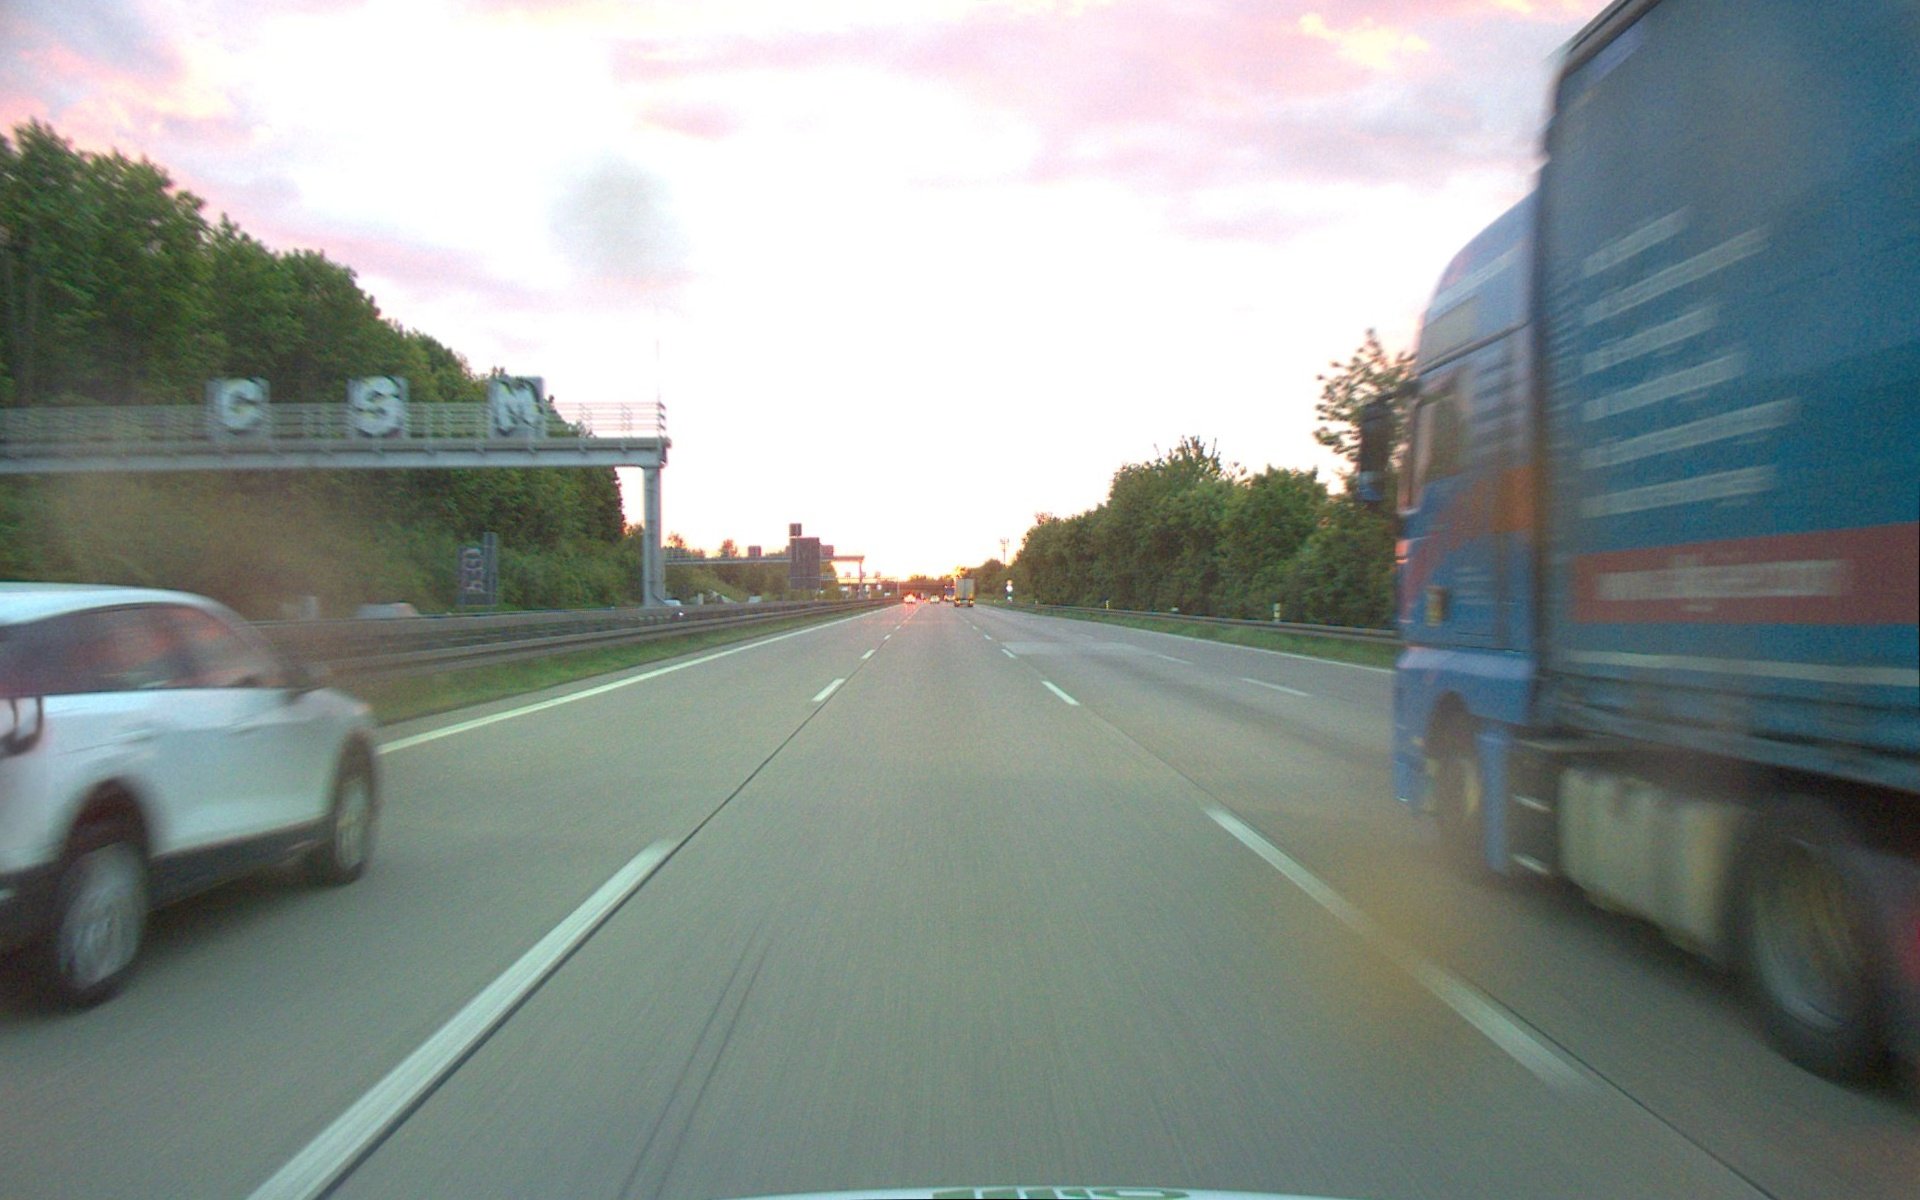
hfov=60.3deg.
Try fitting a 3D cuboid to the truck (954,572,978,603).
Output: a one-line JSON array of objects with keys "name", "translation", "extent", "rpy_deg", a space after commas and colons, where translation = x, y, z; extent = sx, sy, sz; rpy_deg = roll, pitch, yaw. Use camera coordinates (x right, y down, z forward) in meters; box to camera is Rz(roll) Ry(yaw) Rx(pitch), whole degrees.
[{"name": "truck", "translation": [0.755, -1.679, 228.498], "extent": [3.178, 4.199, 9.784], "rpy_deg": [-1, 0, -1]}]

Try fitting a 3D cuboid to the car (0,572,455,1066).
[{"name": "car", "translation": [-3.891, 0.651, 7.481], "extent": [1.753, 1.527, 5.036], "rpy_deg": [1, 0, -1]}]

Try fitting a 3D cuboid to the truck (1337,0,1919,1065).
[{"name": "truck", "translation": [3.939, -0.507, 8.342], "extent": [2.680, 4.066, 5.848], "rpy_deg": [1, 0, -1]}]

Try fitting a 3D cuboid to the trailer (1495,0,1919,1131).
[{"name": "trailer", "translation": [4.083, -0.614, 1.114], "extent": [2.715, 4.158, 13.735], "rpy_deg": [1, 0, -1]}]
